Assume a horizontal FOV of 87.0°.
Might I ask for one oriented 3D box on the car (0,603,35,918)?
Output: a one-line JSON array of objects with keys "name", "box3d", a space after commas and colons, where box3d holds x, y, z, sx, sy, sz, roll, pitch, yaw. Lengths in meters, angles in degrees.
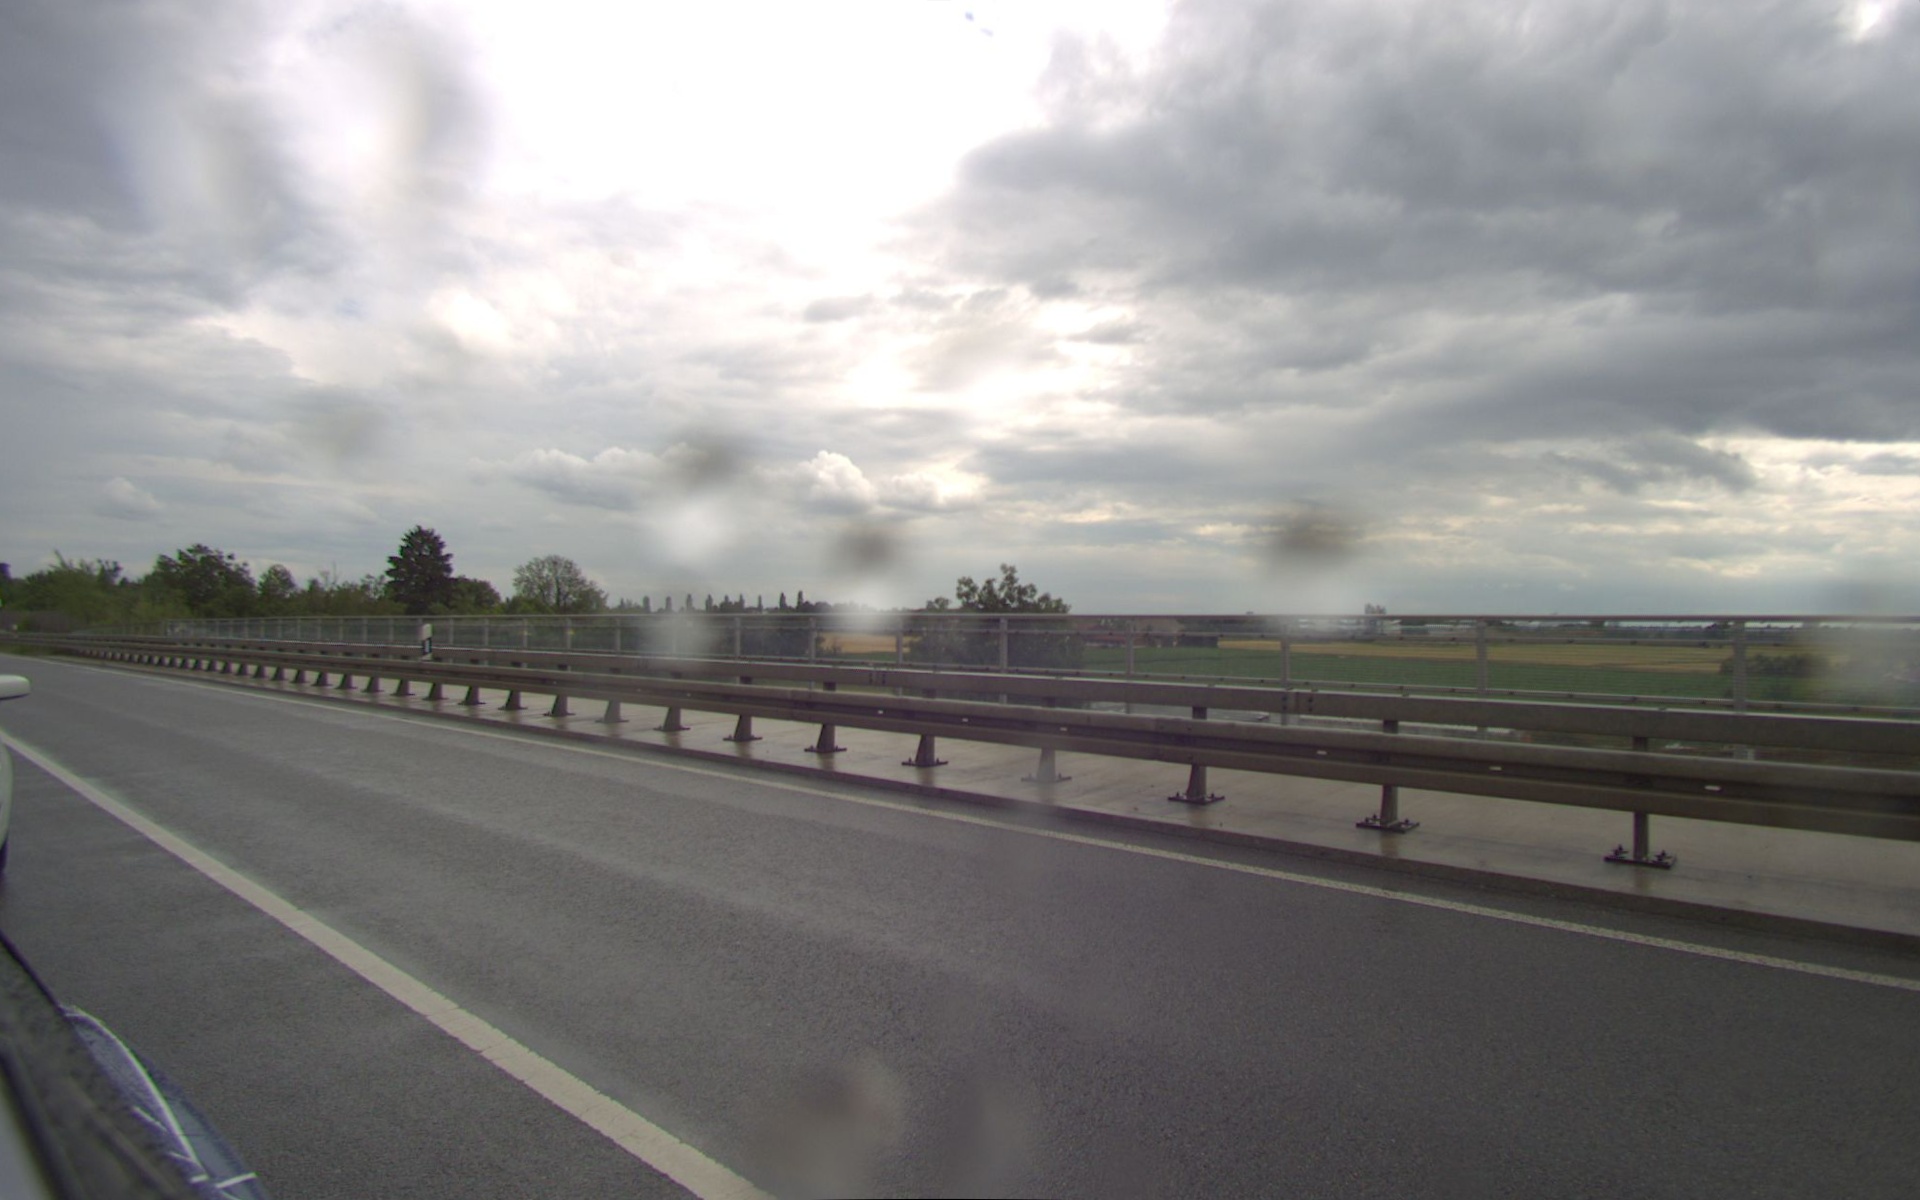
[{"name": "car", "box3d": [-6.582, 0.779, 5.624, 4.127, 1.496, 1.653, 0, 0, 41]}]
